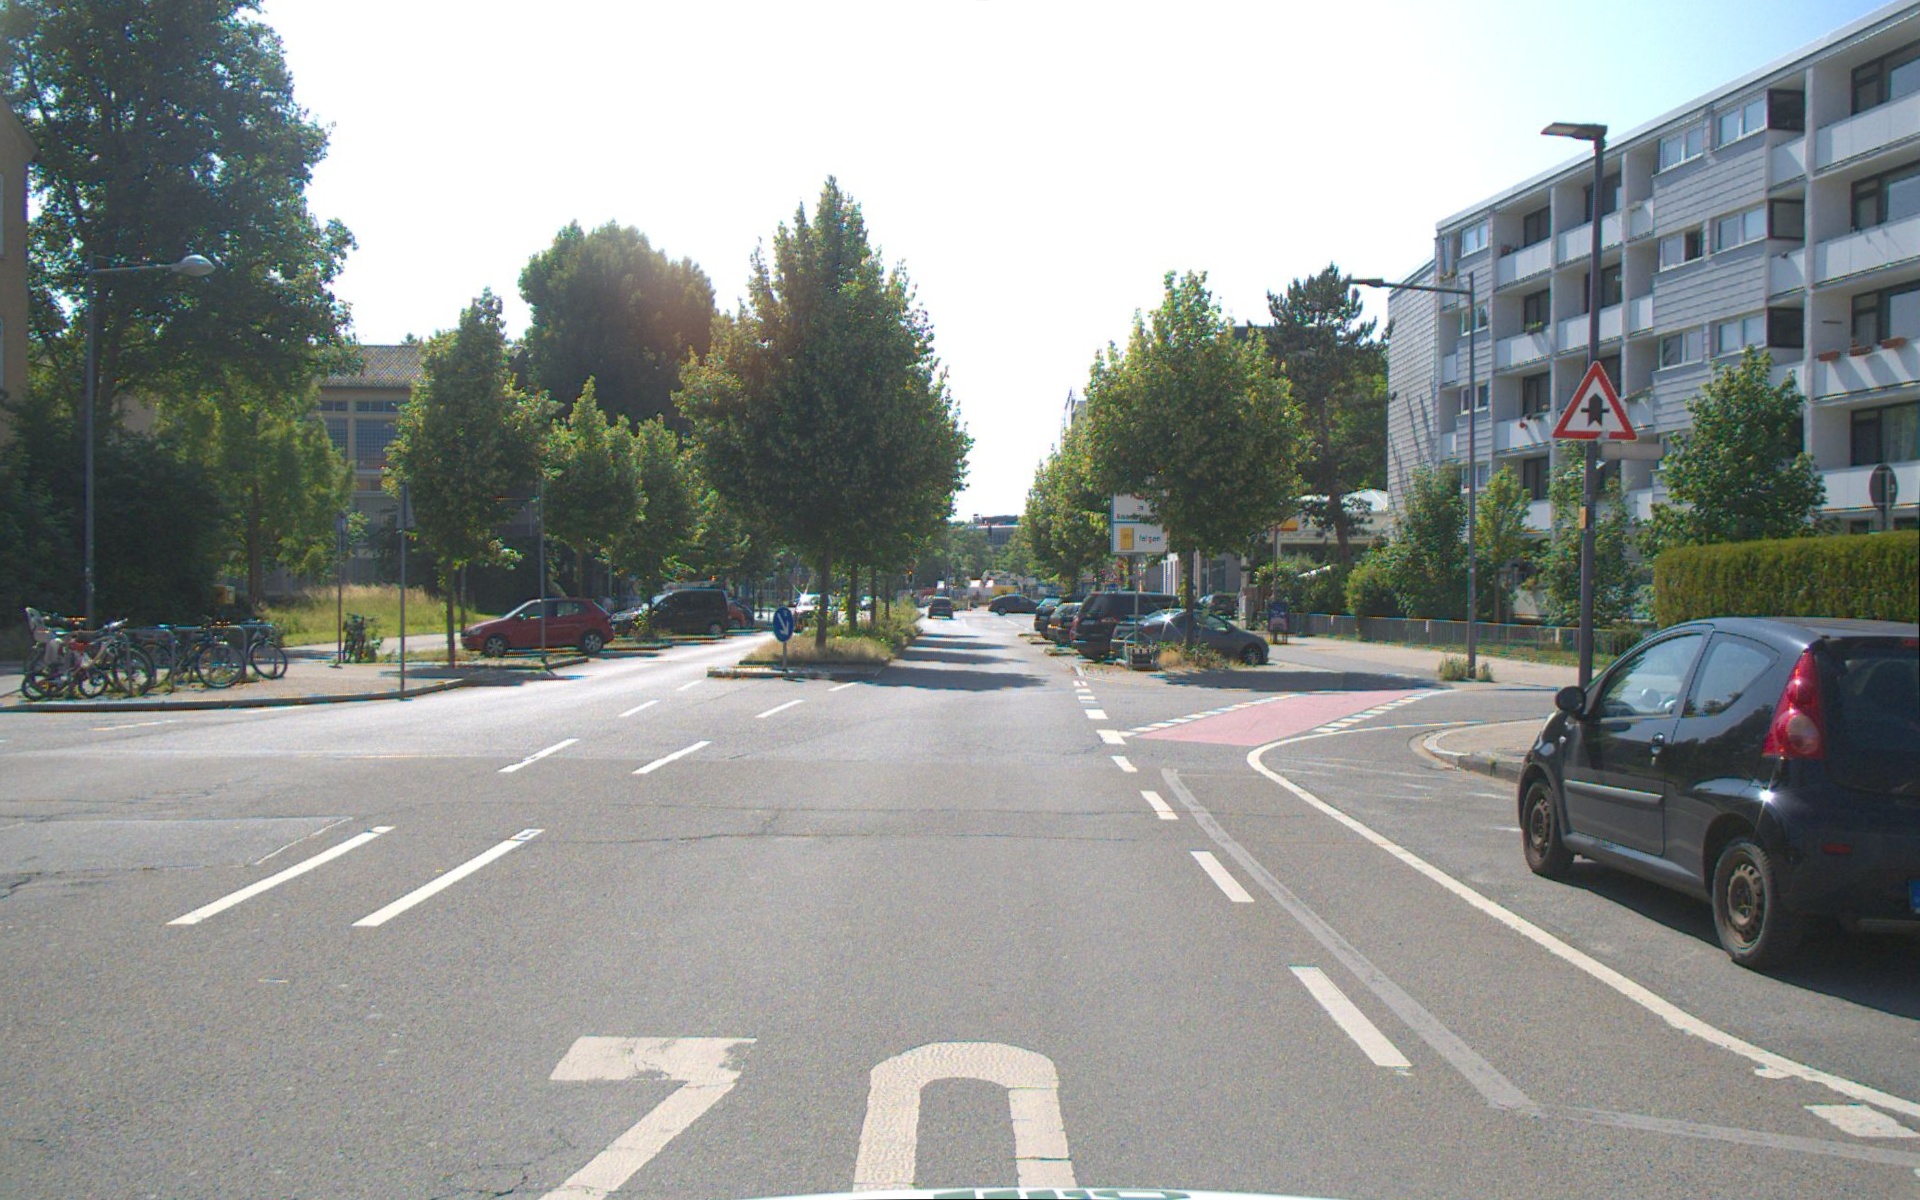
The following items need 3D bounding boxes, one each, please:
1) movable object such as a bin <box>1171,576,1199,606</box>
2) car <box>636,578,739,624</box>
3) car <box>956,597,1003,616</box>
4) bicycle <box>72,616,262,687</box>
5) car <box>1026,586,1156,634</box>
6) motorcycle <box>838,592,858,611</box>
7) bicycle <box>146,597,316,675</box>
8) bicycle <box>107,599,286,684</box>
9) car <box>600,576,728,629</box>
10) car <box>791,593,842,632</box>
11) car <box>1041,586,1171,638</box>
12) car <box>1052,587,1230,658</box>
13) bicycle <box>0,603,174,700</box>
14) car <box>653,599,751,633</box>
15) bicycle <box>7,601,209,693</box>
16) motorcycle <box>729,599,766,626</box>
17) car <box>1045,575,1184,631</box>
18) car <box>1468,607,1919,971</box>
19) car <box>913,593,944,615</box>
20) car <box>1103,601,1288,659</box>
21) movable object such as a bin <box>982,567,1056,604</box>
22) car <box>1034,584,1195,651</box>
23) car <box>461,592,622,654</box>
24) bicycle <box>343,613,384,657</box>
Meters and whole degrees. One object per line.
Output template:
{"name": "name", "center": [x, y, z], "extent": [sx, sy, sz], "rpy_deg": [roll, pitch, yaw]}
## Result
{"name": "movable object such as a bin", "center": [12.554, -0.478, 92.339], "extent": [1.281, 1.620, 1.395], "rpy_deg": [-2, 0, -3]}
{"name": "car", "center": [-10.830, 0.049, 65.755], "extent": [3.717, 1.803, 1.804], "rpy_deg": [0, 0, -27]}
{"name": "car", "center": [1.510, 0.486, 127.893], "extent": [3.530, 1.401, 1.637], "rpy_deg": [0, 0, -3]}
{"name": "bicycle", "center": [-12.043, 0.768, 25.160], "extent": [2.493, 1.005, 0.739], "rpy_deg": [-1, 1, -3]}
{"name": "car", "center": [4.801, 0.359, 60.214], "extent": [4.689, 1.689, 1.732], "rpy_deg": [0, 0, -34]}
{"name": "motorcycle", "center": [-6.190, 0.073, 91.874], "extent": [0.904, 1.010, 2.235], "rpy_deg": [0, 0, 1]}
{"name": "bicycle", "center": [-12.164, 0.601, 27.642], "extent": [2.493, 1.278, 0.739], "rpy_deg": [0, 0, -3]}
{"name": "bicycle", "center": [-12.165, 0.653, 26.416], "extent": [2.465, 1.278, 0.739], "rpy_deg": [-1, 1, -3]}
{"name": "car", "center": [-10.659, 0.054, 59.707], "extent": [4.146, 1.848, 1.977], "rpy_deg": [-1, 1, -38]}
{"name": "car", "center": [-6.047, 0.501, 70.154], "extent": [1.705, 1.574, 4.073], "rpy_deg": [-1, 0, 1]}
{"name": "car", "center": [4.773, 0.399, 54.100], "extent": [3.917, 1.668, 1.747], "rpy_deg": [0, 0, -12]}
{"name": "car", "center": [4.475, 0.528, 40.778], "extent": [4.070, 1.668, 2.021], "rpy_deg": [0, 0, -34]}
{"name": "bicycle", "center": [-12.369, 0.703, 22.969], "extent": [2.493, 1.278, 0.739], "rpy_deg": [-1, 1, -3]}
{"name": "car", "center": [-10.986, 0.676, 70.525], "extent": [3.800, 1.448, 1.694], "rpy_deg": [0, 0, -36]}
{"name": "bicycle", "center": [-12.326, 0.675, 23.985], "extent": [2.493, 1.261, 0.739], "rpy_deg": [-1, 1, -3]}
{"name": "motorcycle", "center": [-10.482, 0.636, 81.575], "extent": [1.810, 1.307, 0.692], "rpy_deg": [0, 0, -7]}
{"name": "car", "center": [4.772, 0.084, 51.166], "extent": [3.931, 1.668, 1.741], "rpy_deg": [0, 1, -22]}
{"name": "car", "center": [4.066, 0.769, 8.544], "extent": [1.584, 1.414, 3.999], "rpy_deg": [1, 0, -1]}
{"name": "car", "center": [-2.131, 0.251, 112.029], "extent": [1.954, 1.422, 3.997], "rpy_deg": [0, 0, -3]}
{"name": "car", "center": [5.399, 0.660, 37.931], "extent": [3.938, 1.258, 1.738], "rpy_deg": [0, 0, -26]}
{"name": "movable object such as a bin", "center": [7.609, -1.875, 214.623], "extent": [9.475, 4.629, 3.164], "rpy_deg": [1, 0, 1]}
{"name": "car", "center": [4.083, 0.487, 43.574], "extent": [3.953, 1.669, 1.857], "rpy_deg": [0, -2, -35]}
{"name": "car", "center": [-11.070, 0.585, 43.699], "extent": [3.930, 1.492, 1.988], "rpy_deg": [-1, 1, -21]}
{"name": "bicycle", "center": [-12.771, 0.743, 35.437], "extent": [0.510, 0.919, 1.269], "rpy_deg": [-1, 0, -5]}
